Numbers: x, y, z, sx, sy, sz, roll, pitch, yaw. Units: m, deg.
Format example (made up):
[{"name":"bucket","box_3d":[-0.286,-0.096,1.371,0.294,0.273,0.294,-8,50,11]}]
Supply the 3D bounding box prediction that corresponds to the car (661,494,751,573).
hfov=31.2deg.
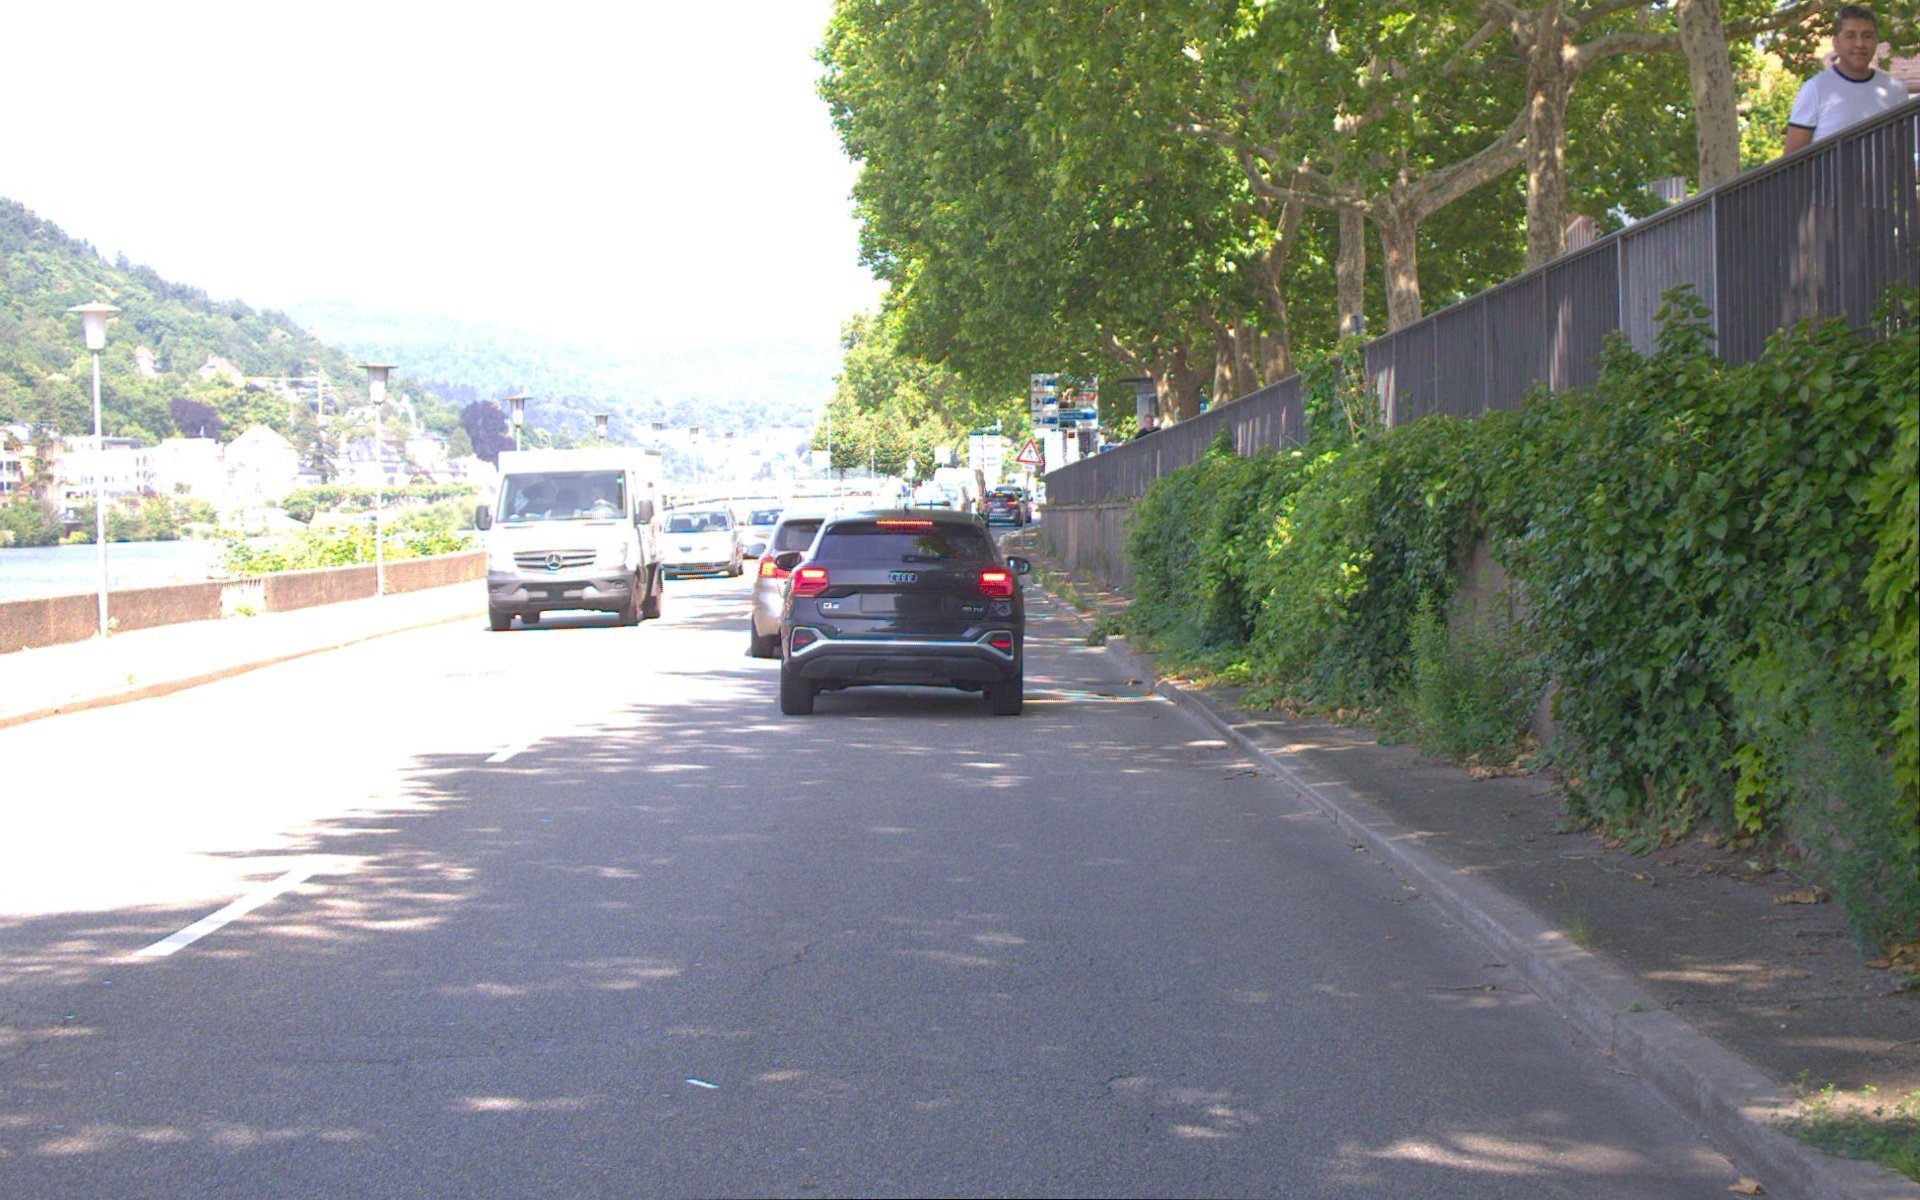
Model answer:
[{"name":"car","box_3d":[-5.649,-1.515,76.933,1.731,1.644,4.178,-2,2,-1]}]

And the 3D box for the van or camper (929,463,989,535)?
[{"name":"van or camper","box_3d":[-0.005,-4.080,139.149,2.310,2.837,4.246,-1,2,1]}]

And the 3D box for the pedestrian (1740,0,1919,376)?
[{"name":"pedestrian","box_3d":[3.818,-1.788,14.968,0.664,1.585,0.651,-1,2,-1]}]

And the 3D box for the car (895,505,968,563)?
[{"name":"car","box_3d":[-0.758,-1.728,89.389,1.828,1.439,4.001,-1,2,-1]}]

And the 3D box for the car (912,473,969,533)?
[{"name":"car","box_3d":[-0.742,-3.591,127.099,1.993,2.162,4.001,0,2,-1]}]

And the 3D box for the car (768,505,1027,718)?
[{"name":"car","box_3d":[-0.486,0.027,26.308,1.828,1.481,4.001,0,2,-1]}]

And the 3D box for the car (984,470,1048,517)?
[{"name":"car","box_3d":[2.590,-5.000,161.113,2.661,2.006,5.825,-3,2,-1]}]

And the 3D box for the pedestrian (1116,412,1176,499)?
[{"name":"pedestrian","box_3d":[3.507,-2.725,64.947,0.936,1.574,1.028,-4,2,-2]}]

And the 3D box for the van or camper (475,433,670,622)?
[{"name":"van or camper","box_3d":[-5.212,-1.010,46.971,2.077,2.390,5.386,-1,2,-1]}]

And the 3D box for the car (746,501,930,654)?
[{"name":"car","box_3d":[-1.263,-0.276,36.239,1.828,1.506,4.001,0,2,-1]}]

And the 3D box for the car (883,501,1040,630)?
[{"name":"car","box_3d":[-0.028,-0.453,41.884,1.828,1.481,4.001,0,2,-1]}]

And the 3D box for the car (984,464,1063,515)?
[{"name":"car","box_3d":[2.743,-4.854,150.497,3.098,2.006,5.825,-3,2,-1]}]

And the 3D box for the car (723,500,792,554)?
[{"name":"car","box_3d":[-5.704,-2.090,97.302,1.731,1.437,4.046,-2,2,-1]}]
